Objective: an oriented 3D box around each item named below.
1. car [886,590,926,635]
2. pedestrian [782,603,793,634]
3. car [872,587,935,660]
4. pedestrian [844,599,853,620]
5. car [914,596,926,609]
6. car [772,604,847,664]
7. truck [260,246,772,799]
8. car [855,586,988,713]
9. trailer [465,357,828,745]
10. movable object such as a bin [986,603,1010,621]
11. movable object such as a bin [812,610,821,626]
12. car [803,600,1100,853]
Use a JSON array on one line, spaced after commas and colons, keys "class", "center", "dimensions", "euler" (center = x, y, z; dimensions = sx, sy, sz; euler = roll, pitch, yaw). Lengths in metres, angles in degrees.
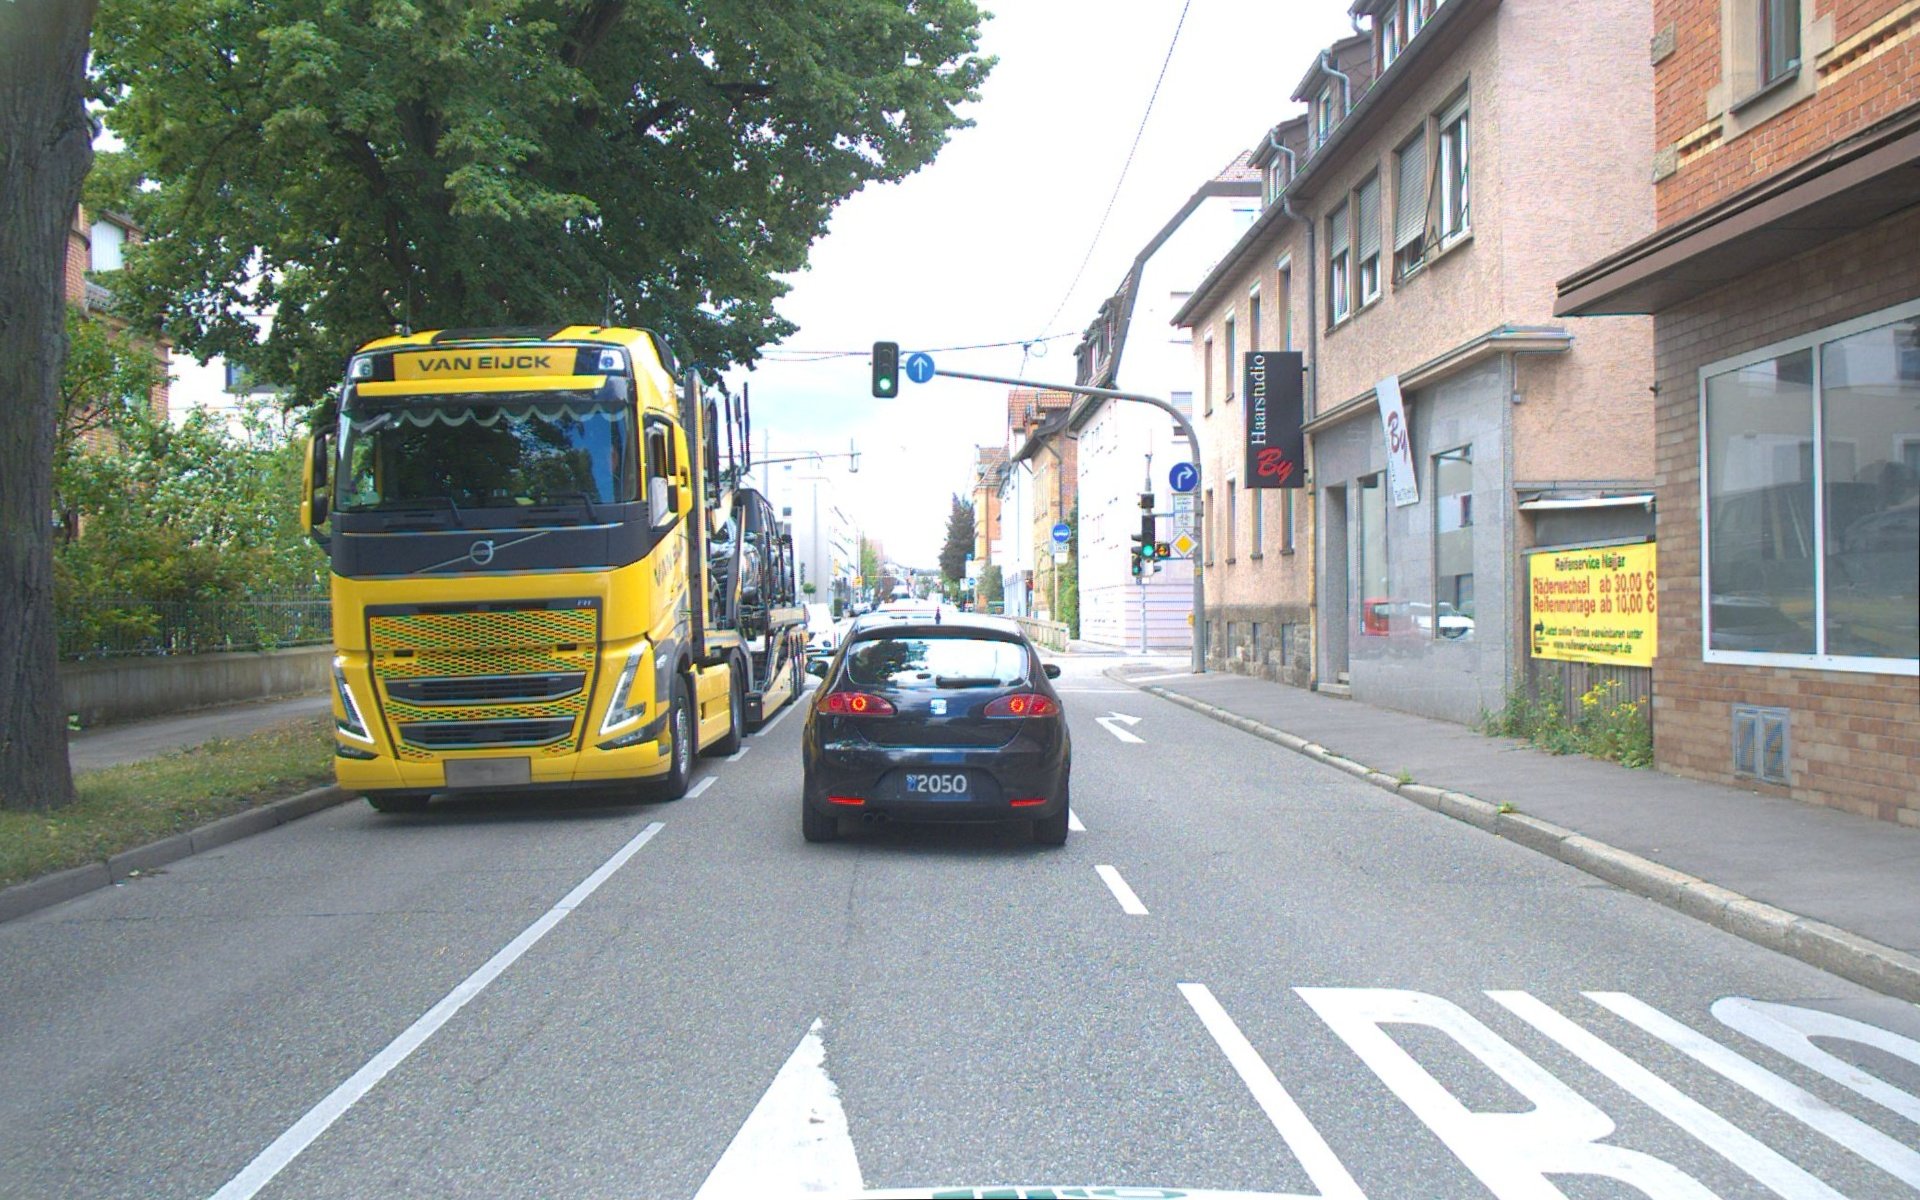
[{"class": "car", "center": [-2.150, 0.518, 65.859], "dimensions": [1.500, 1.723, 3.691], "euler": [1, -1, -2]}, {"class": "pedestrian", "center": [-8.879, 0.939, 85.194], "dimensions": [0.516, 1.575, 0.541], "euler": [1, -1, -2]}, {"class": "car", "center": [-1.414, 0.589, 41.539], "dimensions": [1.500, 1.723, 3.691], "euler": [1, -1, -2]}, {"class": "pedestrian", "center": [-9.446, 0.829, 139.956], "dimensions": [0.716, 1.759, 0.859], "euler": [1, -1, -2]}, {"class": "car", "center": [-5.362, 0.352, 219.720], "dimensions": [1.500, 1.723, 3.691], "euler": [-1, 0, -2]}, {"class": "car", "center": [-4.181, 0.927, 46.428], "dimensions": [1.731, 1.495, 4.225], "euler": [-3, -1, -1]}, {"class": "truck", "center": [-3.537, -0.500, 15.442], "dimensions": [2.786, 3.849, 7.667], "euler": [1, -1, -1]}, {"class": "car", "center": [-0.591, 0.698, 24.587], "dimensions": [1.805, 1.723, 3.998], "euler": [1, -1, -2]}, {"class": "trailer", "center": [-3.725, -0.411, 23.863], "dimensions": [2.800, 3.875, 14.386], "euler": [1, -1, -1]}, {"class": "movable object such as a bin", "center": [3.005, 0.953, 130.884], "dimensions": [1.781, 1.462, 1.992], "euler": [1, -1, -1]}, {"class": "movable object such as a bin", "center": [-9.800, 1.237, 113.076], "dimensions": [0.538, 1.097, 0.611], "euler": [1, -1, -1]}, {"class": "car", "center": [-0.102, 0.766, 11.691], "dimensions": [1.723, 1.467, 3.998], "euler": [1, -1, -2]}]
